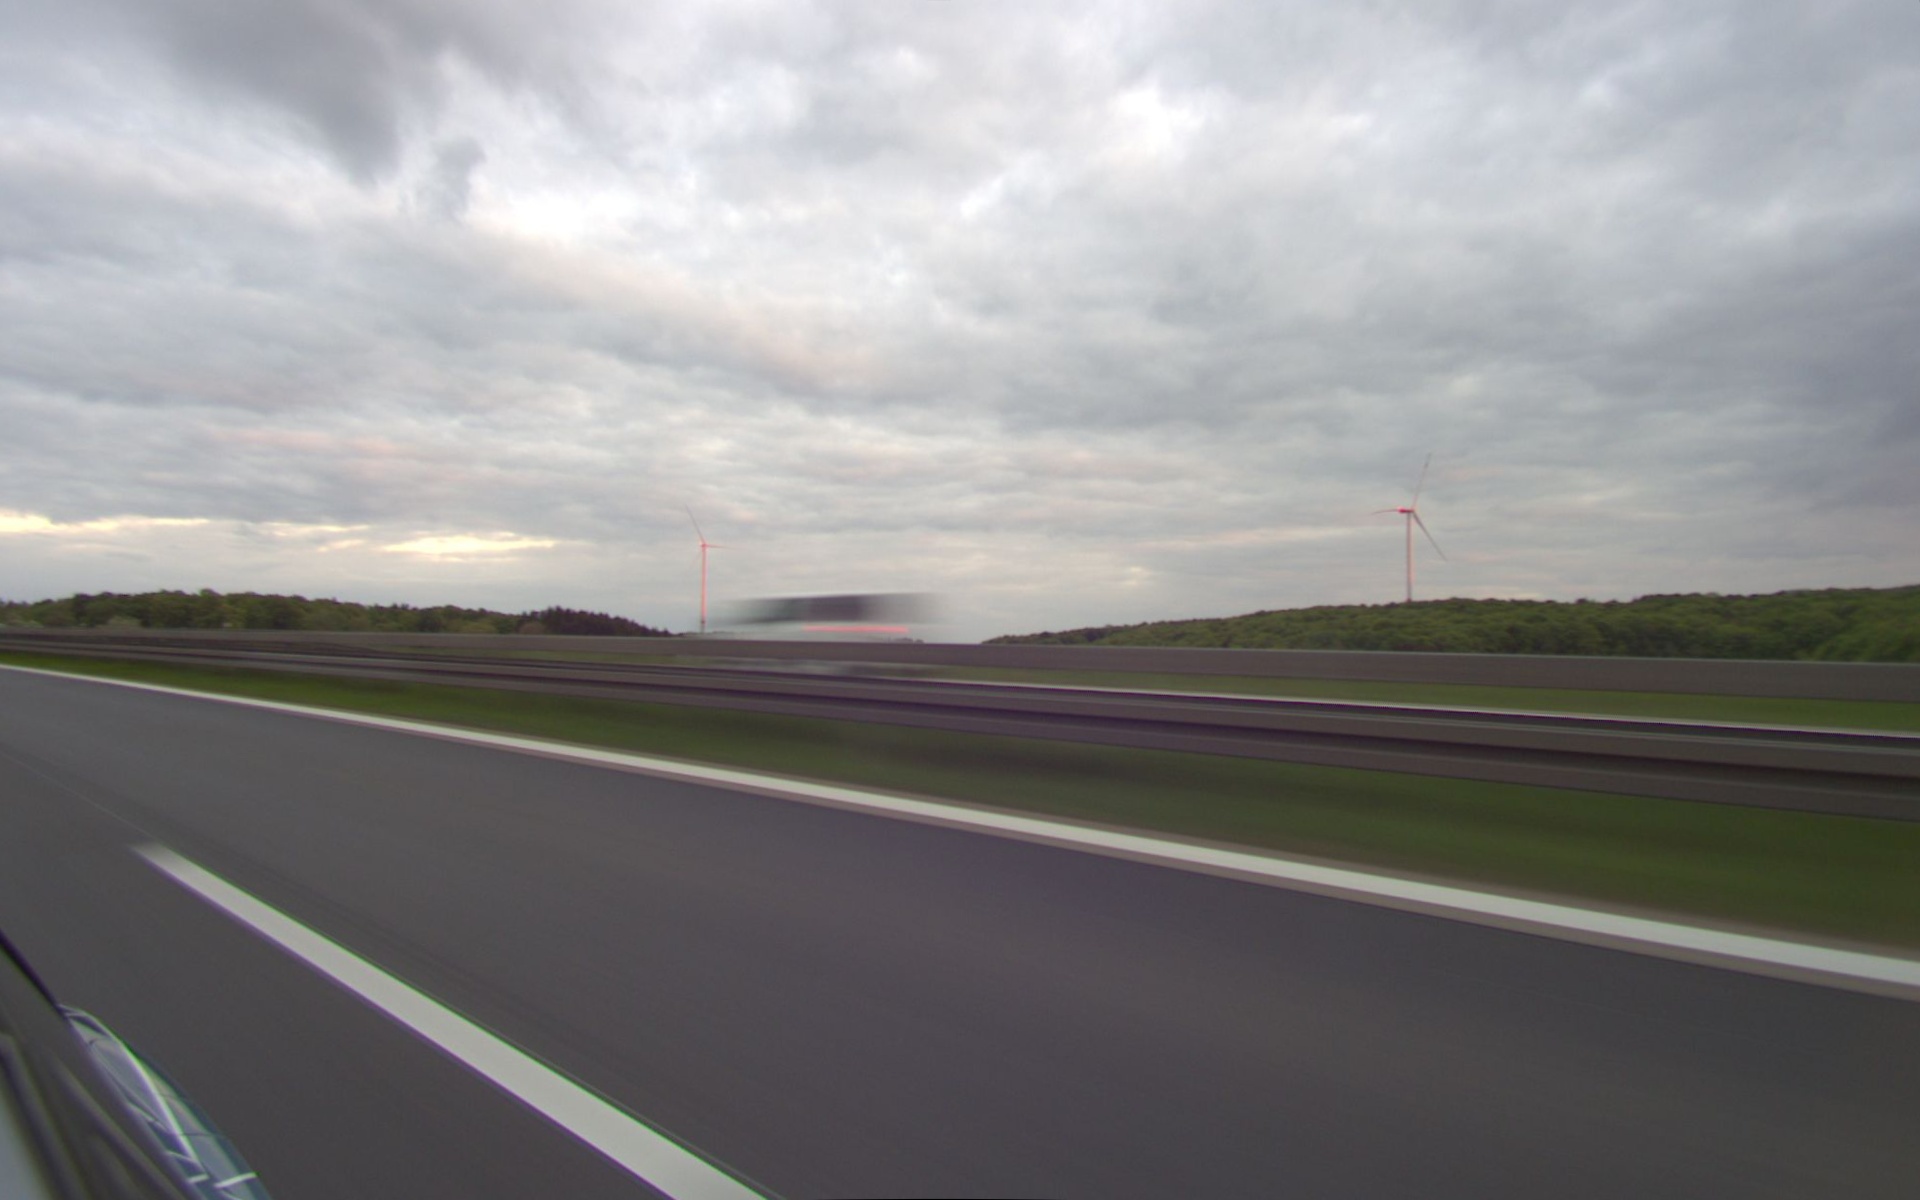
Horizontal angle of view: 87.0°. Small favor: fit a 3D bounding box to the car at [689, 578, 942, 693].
[{"bbox_3d":[-3.139,0.787,21.424,5.253,2.029,2.258,-1,-8,40],"label":"car"}]
